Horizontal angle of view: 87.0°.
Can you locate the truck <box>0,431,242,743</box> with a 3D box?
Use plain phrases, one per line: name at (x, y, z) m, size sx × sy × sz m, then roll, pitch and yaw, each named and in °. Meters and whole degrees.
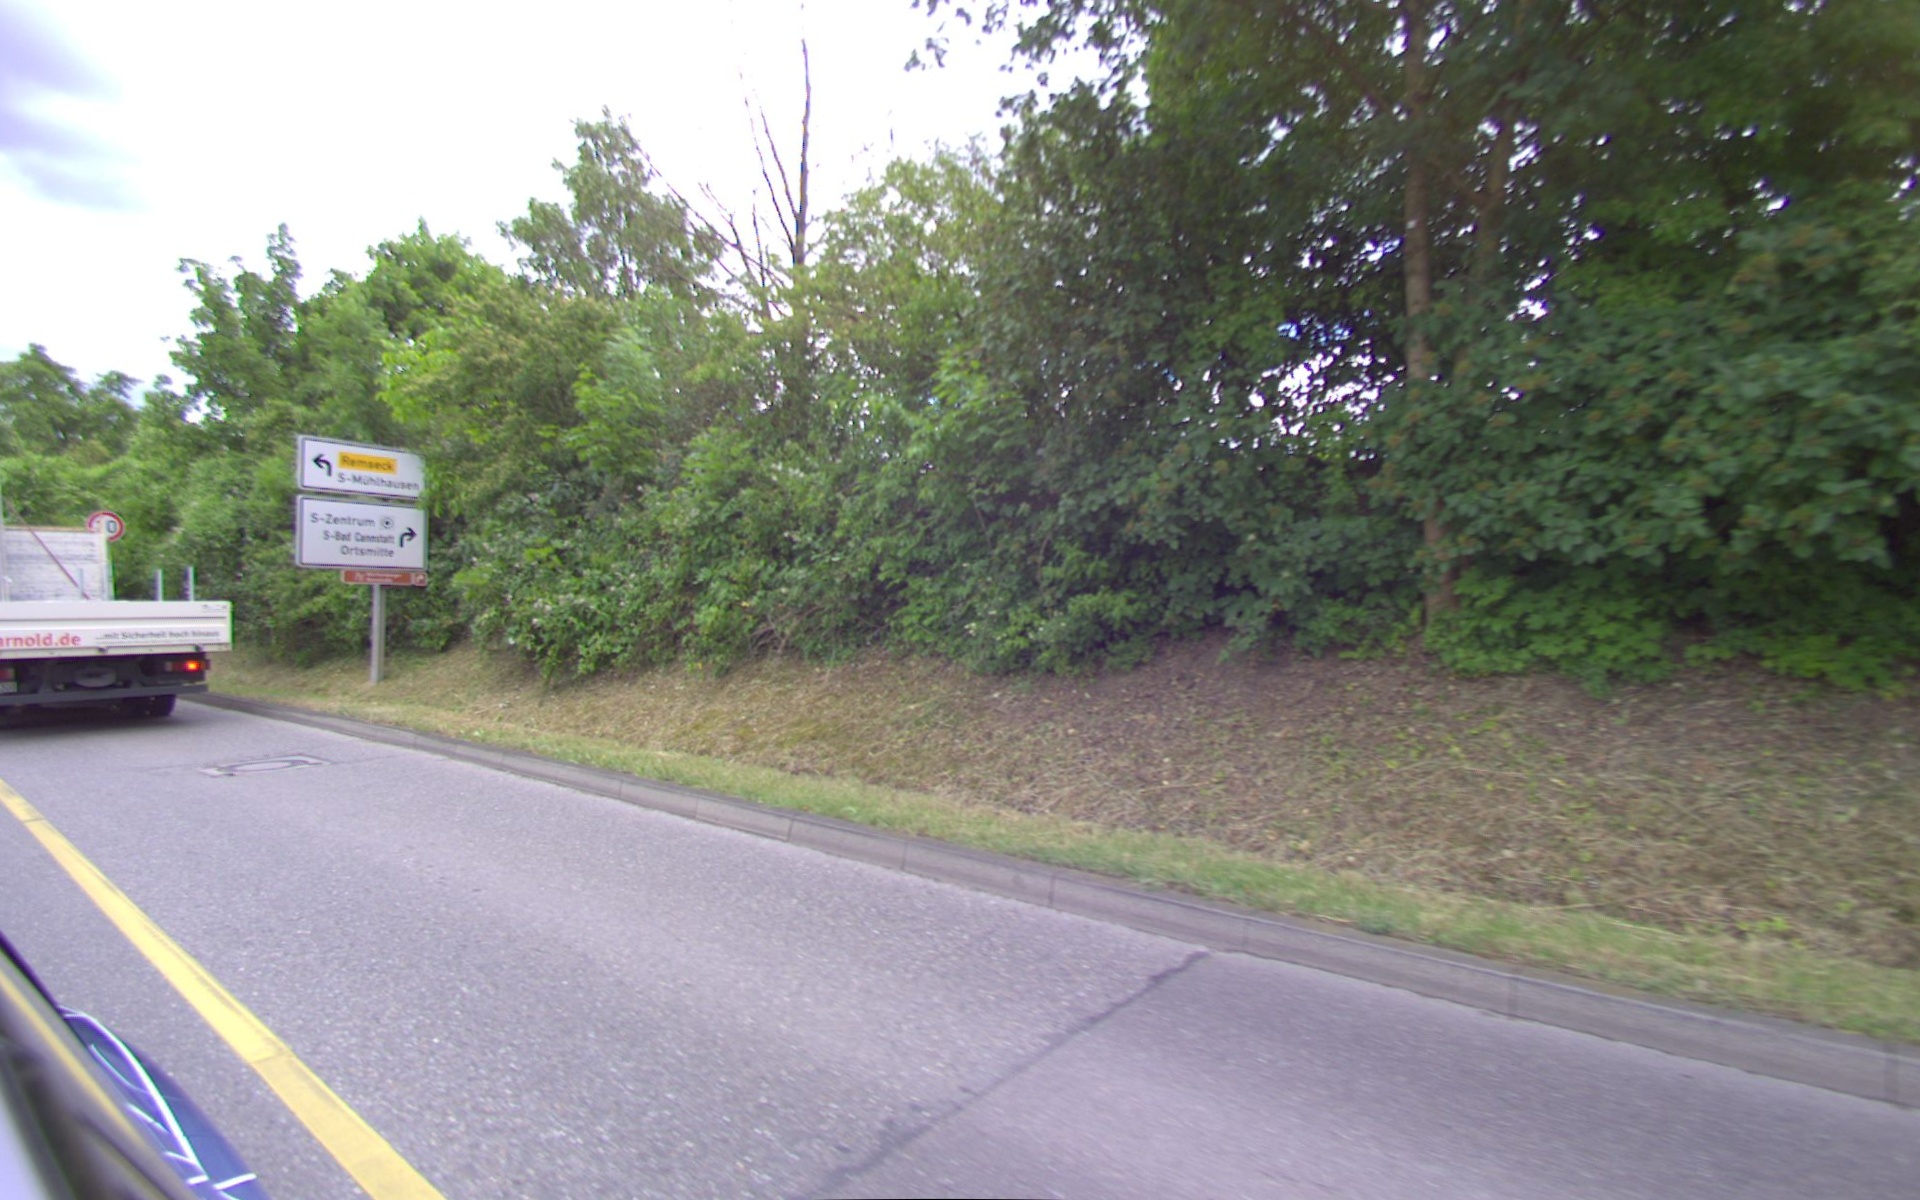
truck at (-12.527, -0.156, 13.654) m, size 7.603 × 3.282 × 2.724 m, roll 0°, pitch 1°, yaw 39°
